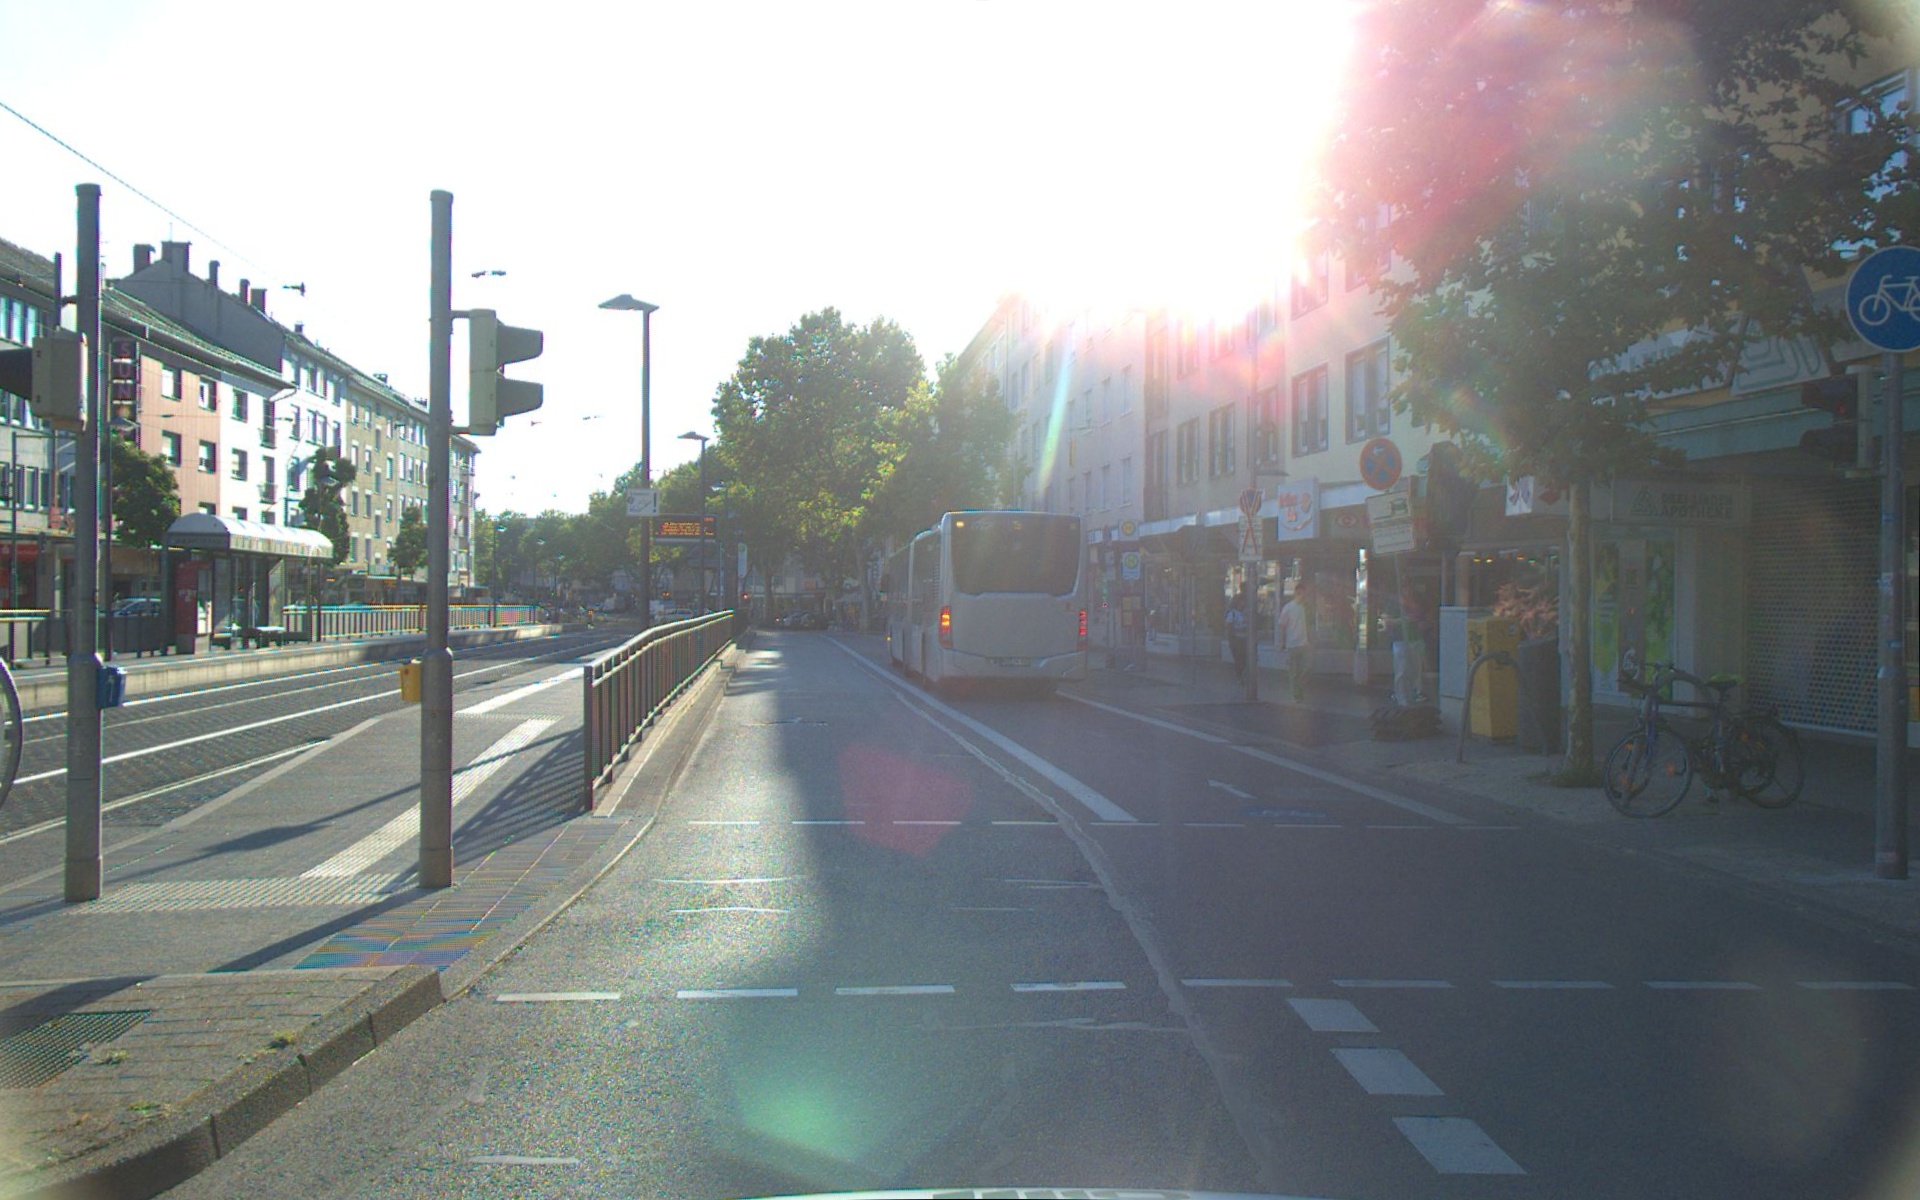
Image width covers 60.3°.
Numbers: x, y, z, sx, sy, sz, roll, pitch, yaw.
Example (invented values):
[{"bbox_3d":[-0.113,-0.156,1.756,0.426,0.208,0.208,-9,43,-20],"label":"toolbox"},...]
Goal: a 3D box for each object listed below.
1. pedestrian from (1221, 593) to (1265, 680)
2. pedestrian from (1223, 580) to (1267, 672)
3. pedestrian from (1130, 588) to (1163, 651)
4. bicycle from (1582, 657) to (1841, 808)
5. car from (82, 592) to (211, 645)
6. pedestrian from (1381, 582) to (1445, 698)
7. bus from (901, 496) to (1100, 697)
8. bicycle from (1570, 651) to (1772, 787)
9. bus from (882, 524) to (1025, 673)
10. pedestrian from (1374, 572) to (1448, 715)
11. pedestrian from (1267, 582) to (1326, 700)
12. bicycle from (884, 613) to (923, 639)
[{"bbox_3d":[5.309,0.681,31.060,0.598,1.606,0.850,0,-1,-7],"label":"pedestrian"},{"bbox_3d":[5.867,0.529,34.097,0.709,1.872,0.765,0,-1,-7],"label":"pedestrian"},{"bbox_3d":[4.971,0.524,44.102,0.709,1.661,0.765,0,-1,-7],"label":"pedestrian"},{"bbox_3d":[5.668,0.981,12.488,1.765,1.026,0.540,-2,0,-10],"label":"bicycle"},{"bbox_3d":[-27.261,0.609,55.521,1.733,1.709,3.502,0,0,31],"label":"car"},{"bbox_3d":[6.981,0.607,25.512,0.709,1.753,0.765,0,-1,-7],"label":"pedestrian"},{"bbox_3d":[0.494,-0.033,31.247,2.644,3.173,9.370,1,0,-5],"label":"bus"},{"bbox_3d":[5.606,0.928,13.060,1.455,1.026,0.453,0,0,-10],"label":"bicycle"},{"bbox_3d":[-0.353,-0.014,40.418,2.644,3.173,9.059,1,0,-5],"label":"bus"},{"bbox_3d":[5.909,0.561,21.715,0.709,1.838,0.765,0,-1,-7],"label":"pedestrian"},{"bbox_3d":[5.250,0.629,25.836,0.709,1.810,0.765,0,-1,-7],"label":"pedestrian"},{"bbox_3d":[-2.816,1.280,81.639,1.850,1.096,0.754,-4,0,-4],"label":"bicycle"}]
